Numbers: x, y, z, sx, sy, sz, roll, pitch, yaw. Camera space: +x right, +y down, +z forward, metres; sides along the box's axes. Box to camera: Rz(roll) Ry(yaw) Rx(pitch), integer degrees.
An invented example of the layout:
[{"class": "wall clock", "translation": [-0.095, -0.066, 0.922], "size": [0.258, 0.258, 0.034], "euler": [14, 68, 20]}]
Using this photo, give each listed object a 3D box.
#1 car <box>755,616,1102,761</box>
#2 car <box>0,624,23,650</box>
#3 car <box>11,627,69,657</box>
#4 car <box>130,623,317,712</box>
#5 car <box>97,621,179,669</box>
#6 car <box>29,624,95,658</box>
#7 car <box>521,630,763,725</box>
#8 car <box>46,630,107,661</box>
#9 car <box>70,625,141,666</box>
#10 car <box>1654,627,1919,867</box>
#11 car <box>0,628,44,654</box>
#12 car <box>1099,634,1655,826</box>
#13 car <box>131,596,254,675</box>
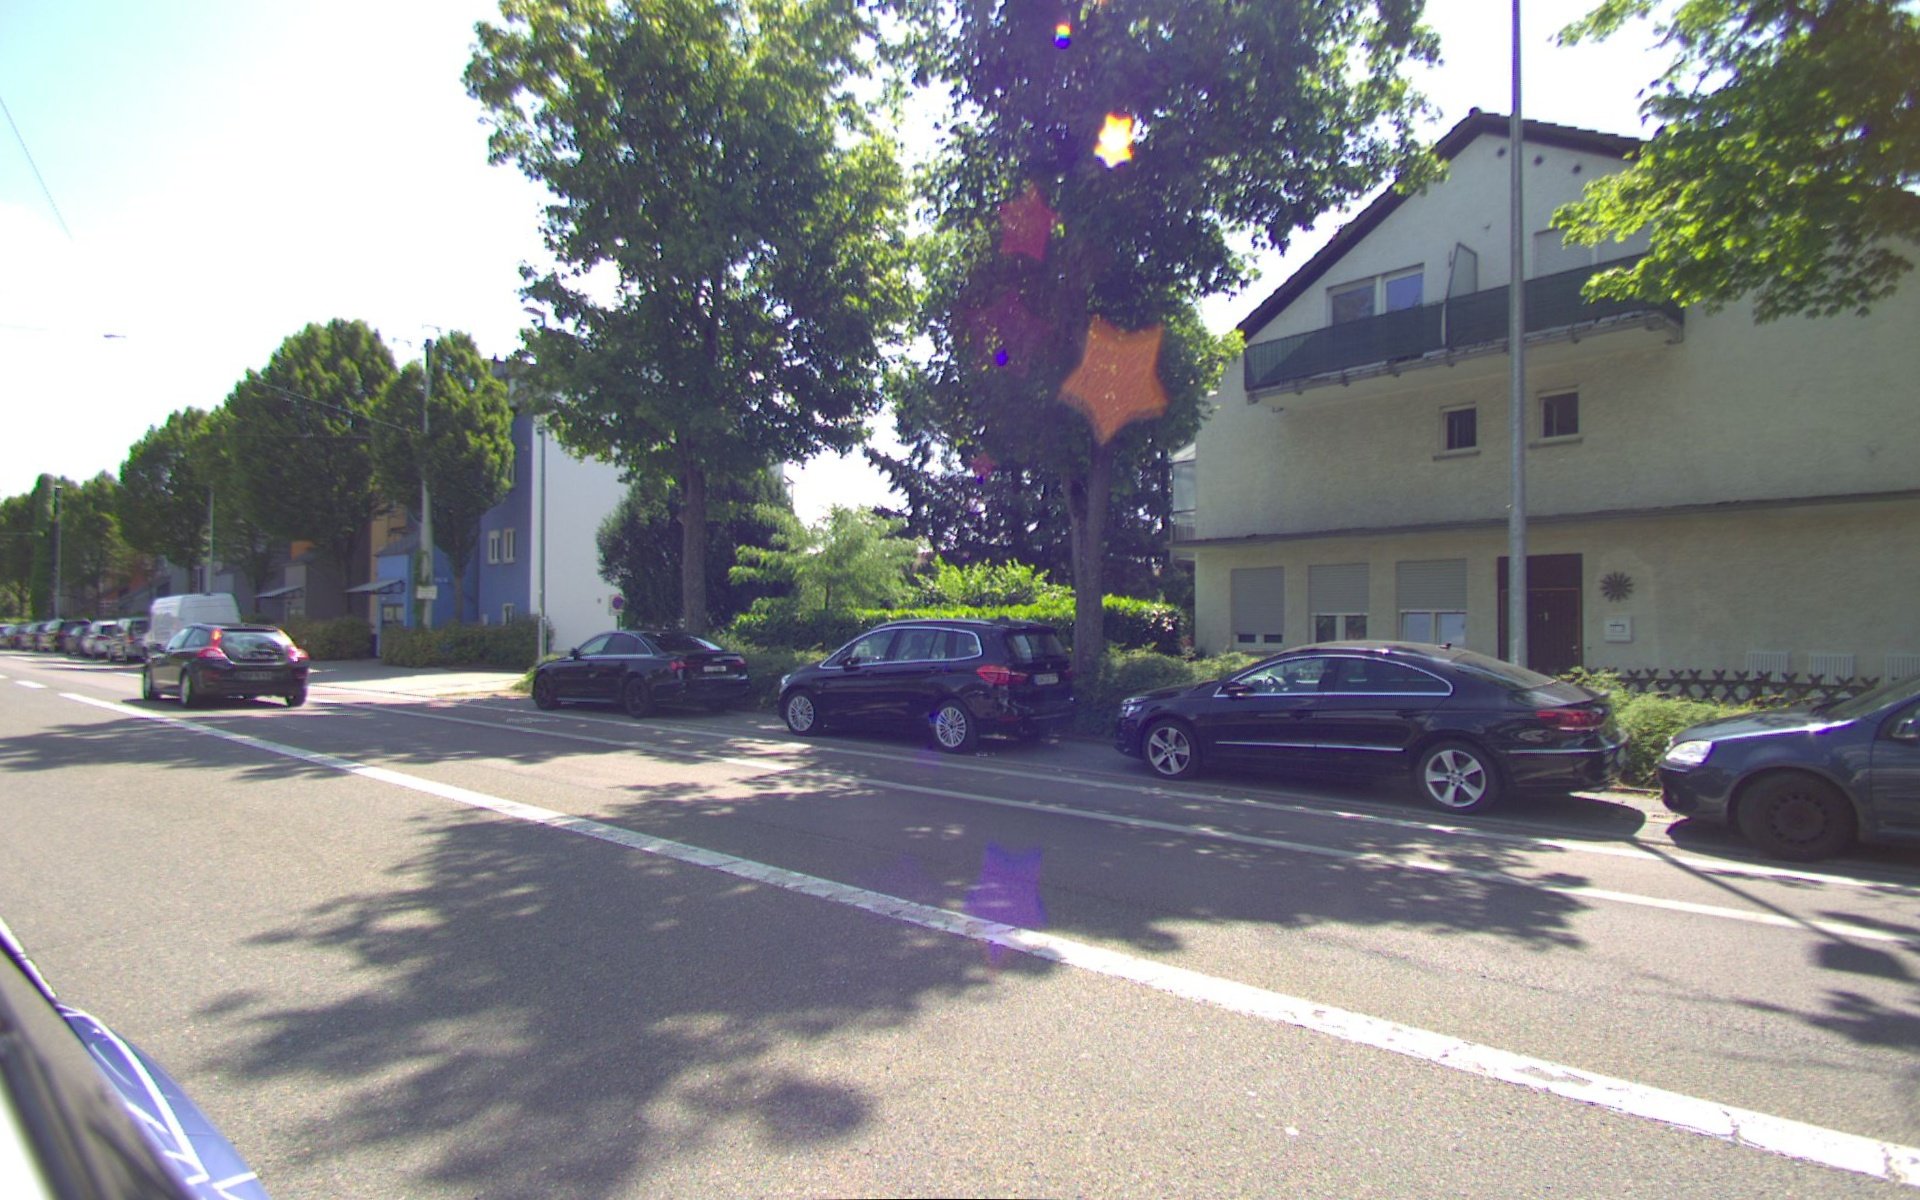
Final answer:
[{"class": "car", "translation": [-0.554, 1.052, 13.534], "size": [4.632, 1.616, 1.757], "euler": [-1, -1, 39]}, {"class": "car", "translation": [-61.790, 2.357, 64.757], "size": [4.884, 1.519, 1.642], "euler": [0, 1, 35]}, {"class": "car", "translation": [-52.180, 2.357, 57.390], "size": [4.279, 1.630, 1.640], "euler": [-1, -3, 38]}, {"class": "car", "translation": [-13.100, 1.160, 17.936], "size": [4.001, 1.409, 1.661], "euler": [-1, -4, 39]}, {"class": "car", "translation": [-35.453, 1.892, 43.607], "size": [5.358, 1.909, 1.788], "euler": [-2, 0, 41]}, {"class": "car", "translation": [-47.940, 2.182, 53.979], "size": [4.880, 1.729, 1.734], "euler": [-2, -3, 38]}, {"class": "car", "translation": [-5.723, 1.264, 17.897], "size": [4.799, 1.467, 1.757], "euler": [-1, -2, 39]}, {"class": "car", "translation": [-44.194, 2.226, 50.586], "size": [4.082, 1.482, 1.583], "euler": [-1, -2, 38]}, {"class": "car", "translation": [-39.902, 2.084, 47.232], "size": [4.899, 1.765, 1.699], "euler": [-1, -1, 40]}, {"class": "car", "translation": [7.183, 0.944, 6.741], "size": [4.045, 1.492, 1.756], "euler": [-1, -1, 41]}, {"class": "car", "translation": [-57.044, 2.461, 61.061], "size": [4.954, 1.457, 1.726], "euler": [-1, -1, 36]}, {"class": "car", "translation": [3.839, 1.061, 9.853], "size": [4.692, 1.383, 1.757], "euler": [-1, 0, 39]}, {"class": "car", "translation": [-29.317, 1.309, 38.553], "size": [7.032, 2.671, 2.300], "euler": [-2, 1, 41]}]
